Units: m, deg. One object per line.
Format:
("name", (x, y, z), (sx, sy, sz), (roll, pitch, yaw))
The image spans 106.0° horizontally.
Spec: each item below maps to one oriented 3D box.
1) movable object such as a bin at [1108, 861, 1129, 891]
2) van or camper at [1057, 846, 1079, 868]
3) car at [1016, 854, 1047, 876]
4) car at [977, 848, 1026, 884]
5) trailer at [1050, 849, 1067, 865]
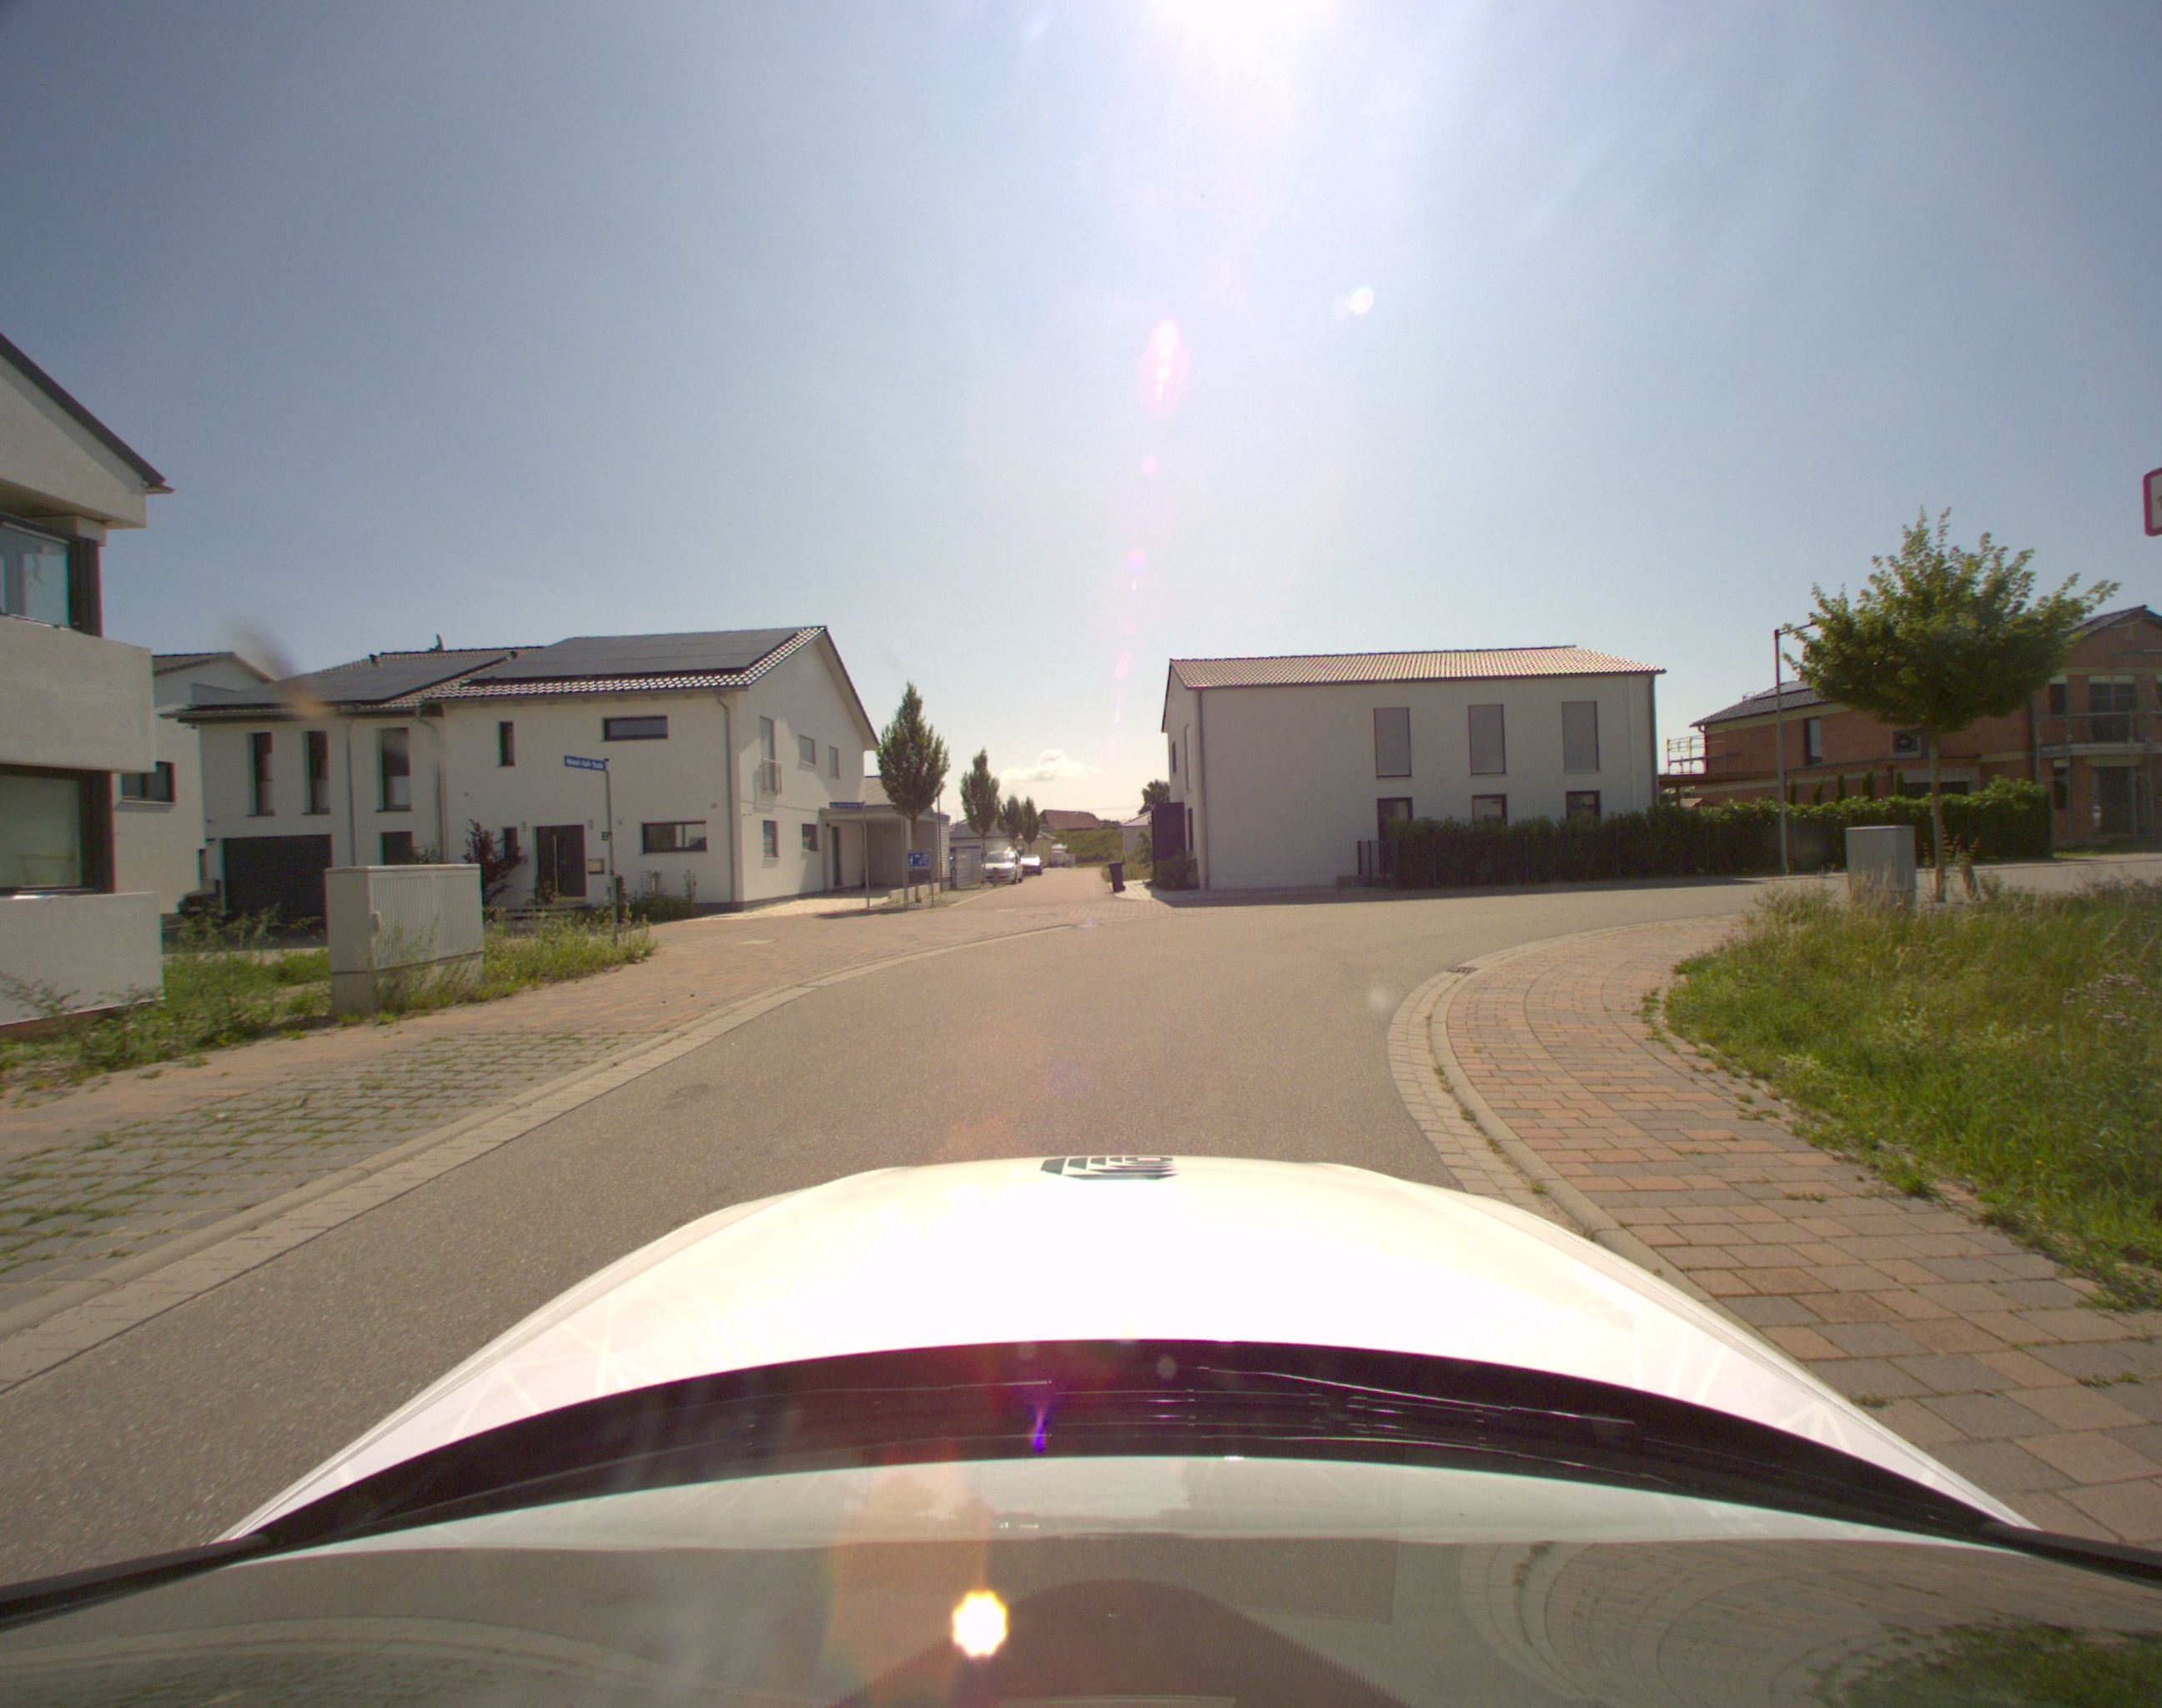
("movable object such as a bin", (1.219, 0.712, 26.401), (0.597, 0.948, 0.501), (-3, 0, 1))
("van or camper", (-1.420, 0.329, 91.432), (2.255, 2.411, 4.846), (-1, -1, 2))
("car", (-3.770, 0.801, 62.743), (1.986, 1.614, 4.486), (-1, 0, 2))
("car", (-4.143, 0.615, 43.295), (1.986, 1.790, 4.649), (-1, 0, 2))
("trailer", (-2.305, 0.310, 84.071), (1.620, 1.614, 2.562), (-1, -1, 2))
